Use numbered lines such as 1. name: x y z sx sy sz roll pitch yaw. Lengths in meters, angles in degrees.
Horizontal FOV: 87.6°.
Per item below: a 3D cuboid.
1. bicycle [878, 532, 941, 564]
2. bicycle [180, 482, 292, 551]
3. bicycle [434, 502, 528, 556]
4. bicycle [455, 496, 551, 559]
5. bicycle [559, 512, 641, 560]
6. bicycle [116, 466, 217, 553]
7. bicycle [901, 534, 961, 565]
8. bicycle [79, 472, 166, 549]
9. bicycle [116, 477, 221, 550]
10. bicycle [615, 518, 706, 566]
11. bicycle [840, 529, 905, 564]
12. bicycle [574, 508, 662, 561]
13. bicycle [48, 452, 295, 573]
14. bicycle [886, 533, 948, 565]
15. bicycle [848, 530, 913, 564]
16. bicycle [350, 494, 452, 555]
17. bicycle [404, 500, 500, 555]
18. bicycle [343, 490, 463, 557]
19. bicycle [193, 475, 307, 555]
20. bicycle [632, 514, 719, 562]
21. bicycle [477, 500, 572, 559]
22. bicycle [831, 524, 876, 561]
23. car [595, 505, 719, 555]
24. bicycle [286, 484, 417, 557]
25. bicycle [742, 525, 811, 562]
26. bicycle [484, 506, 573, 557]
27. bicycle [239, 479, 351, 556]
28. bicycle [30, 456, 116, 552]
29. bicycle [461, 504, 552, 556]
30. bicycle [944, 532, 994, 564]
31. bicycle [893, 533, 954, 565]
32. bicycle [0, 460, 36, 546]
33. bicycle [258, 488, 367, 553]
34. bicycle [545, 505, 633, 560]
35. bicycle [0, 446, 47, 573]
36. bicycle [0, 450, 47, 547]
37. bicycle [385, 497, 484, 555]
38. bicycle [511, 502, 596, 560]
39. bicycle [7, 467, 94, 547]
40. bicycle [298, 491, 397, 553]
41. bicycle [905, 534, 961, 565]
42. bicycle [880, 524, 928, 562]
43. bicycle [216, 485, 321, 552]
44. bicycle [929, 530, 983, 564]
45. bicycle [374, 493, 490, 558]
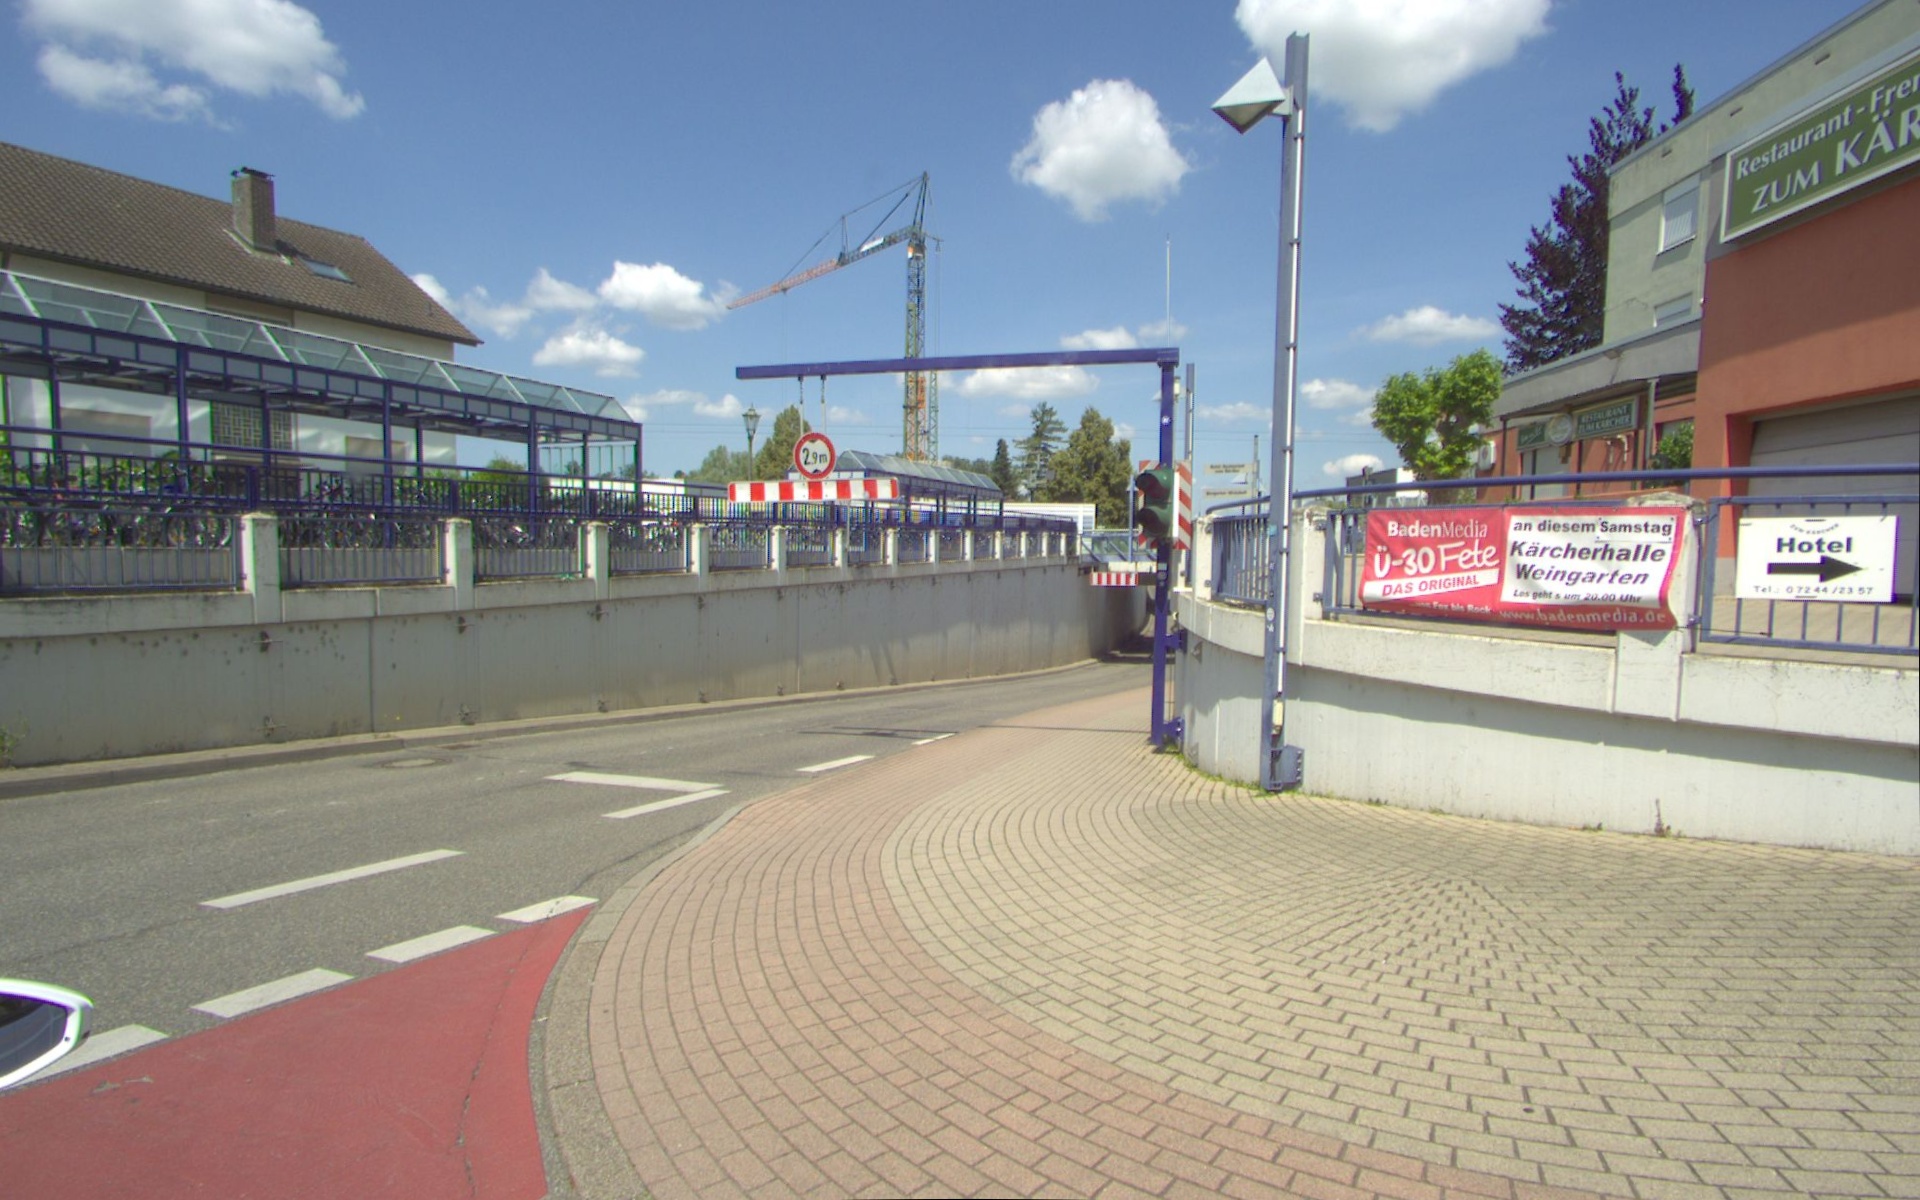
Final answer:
1. bicycle: -1.653 -1.688 32.604 1.990 1.008 0.510 2 3 20
2. bicycle: -11.098 -1.273 15.333 1.932 1.008 0.473 2 3 24
3. bicycle: -9.345 -1.386 19.509 1.932 1.008 0.519 2 3 24
4. bicycle: -7.863 -1.230 17.176 2.159 1.008 0.576 3 3 38
5. bicycle: -7.984 -1.418 22.175 2.008 1.008 0.543 3 3 30
6. bicycle: -9.929 -1.106 12.502 2.073 1.008 0.434 3 3 36
7. bicycle: -0.991 -1.726 34.066 1.990 1.008 0.510 2 3 20
8. bicycle: -11.698 -1.237 13.971 1.937 1.008 0.372 3 3 33
9. bicycle: -11.566 -1.258 14.617 1.934 1.008 0.425 3 3 27
10. bicycle: -6.574 -1.274 21.920 2.125 1.008 0.436 2 3 23
11. bicycle: -2.675 -1.635 30.523 1.990 1.008 0.436 2 3 21
12. bicycle: -6.856 -1.311 20.035 2.009 1.008 0.542 3 3 33
13. bicycle: -8.191 -0.859 10.550 0.386 1.141 2.115 3 2 23
14. bicycle: -1.434 -1.703 33.159 1.990 1.008 0.510 2 3 20
15. bicycle: -2.470 -1.652 31.108 1.990 1.008 0.510 2 3 20
16. bicycle: -9.856 -1.329 17.642 1.932 1.008 0.519 2 3 24
17. bicycle: -9.631 -1.372 18.965 1.932 1.008 0.519 2 3 24
18. bicycle: -8.786 -1.200 15.767 2.152 1.008 0.532 2 3 26
19. bicycle: -9.677 -1.141 13.617 2.247 1.008 0.434 3 3 32
20. bicycle: -6.225 -1.364 21.871 2.006 1.008 0.543 3 3 27
21. bicycle: -7.849 -1.260 18.006 2.008 1.008 0.514 3 3 31
22. bicycle: -3.488 -1.873 32.716 1.577 1.174 0.384 3 3 32
23. car: -11.003 -2.546 36.384 3.929 1.701 1.995 2 3 20
24. bicycle: -9.012 -1.169 14.796 2.244 1.008 0.532 2 3 26
25. bicycle: -5.352 -1.648 29.149 1.990 1.008 0.510 2 3 20
26. bicycle: -8.857 -1.412 20.539 1.932 1.008 0.519 2 3 24
27. bicycle: -9.412 -1.154 14.137 2.247 1.008 0.434 3 3 32
28. bicycle: -10.207 -1.076 11.498 2.076 1.008 0.433 3 3 40
29. bicycle: -9.080 -1.399 20.035 1.932 1.008 0.519 2 3 24
30. bicycle: 0.333 -1.978 38.031 1.791 1.174 0.510 2 3 22
31. bicycle: -1.225 -1.716 33.654 1.990 1.008 0.510 2 3 20
32. bicycle: -12.141 -1.194 12.535 1.937 1.008 0.372 3 3 33
33. bicycle: -10.627 -1.302 16.429 1.932 1.008 0.519 2 3 24
34. bicycle: -7.153 -1.290 19.271 2.009 1.008 0.514 3 3 33
35. bicycle: -9.079 -0.802 8.419 0.327 1.141 2.115 3 2 23
36. bicycle: -10.879 -1.110 11.072 2.040 1.008 0.332 2 3 23
37. bicycle: -9.627 -1.349 18.345 1.932 1.008 0.519 2 3 24
38. bicycle: -7.597 -1.278 18.662 2.011 1.008 0.513 3 3 37
39. bicycle: -12.178 -1.227 13.391 1.937 1.008 0.372 3 3 33
40. bicycle: -10.465 -1.323 17.096 1.771 1.008 0.519 2 3 24
41. bicycle: -0.934 -1.748 34.695 1.889 1.008 0.510 2 3 20
42. bicycle: -1.782 -1.796 31.752 1.577 1.174 0.427 3 3 32
43. bicycle: -10.892 -1.284 15.763 1.932 1.008 0.414 2 3 24
44. bicycle: -0.138 -1.925 36.291 1.889 1.174 0.510 2 3 22
45. bicycle: -8.705 -1.224 16.491 2.152 1.008 0.532 2 3 26
